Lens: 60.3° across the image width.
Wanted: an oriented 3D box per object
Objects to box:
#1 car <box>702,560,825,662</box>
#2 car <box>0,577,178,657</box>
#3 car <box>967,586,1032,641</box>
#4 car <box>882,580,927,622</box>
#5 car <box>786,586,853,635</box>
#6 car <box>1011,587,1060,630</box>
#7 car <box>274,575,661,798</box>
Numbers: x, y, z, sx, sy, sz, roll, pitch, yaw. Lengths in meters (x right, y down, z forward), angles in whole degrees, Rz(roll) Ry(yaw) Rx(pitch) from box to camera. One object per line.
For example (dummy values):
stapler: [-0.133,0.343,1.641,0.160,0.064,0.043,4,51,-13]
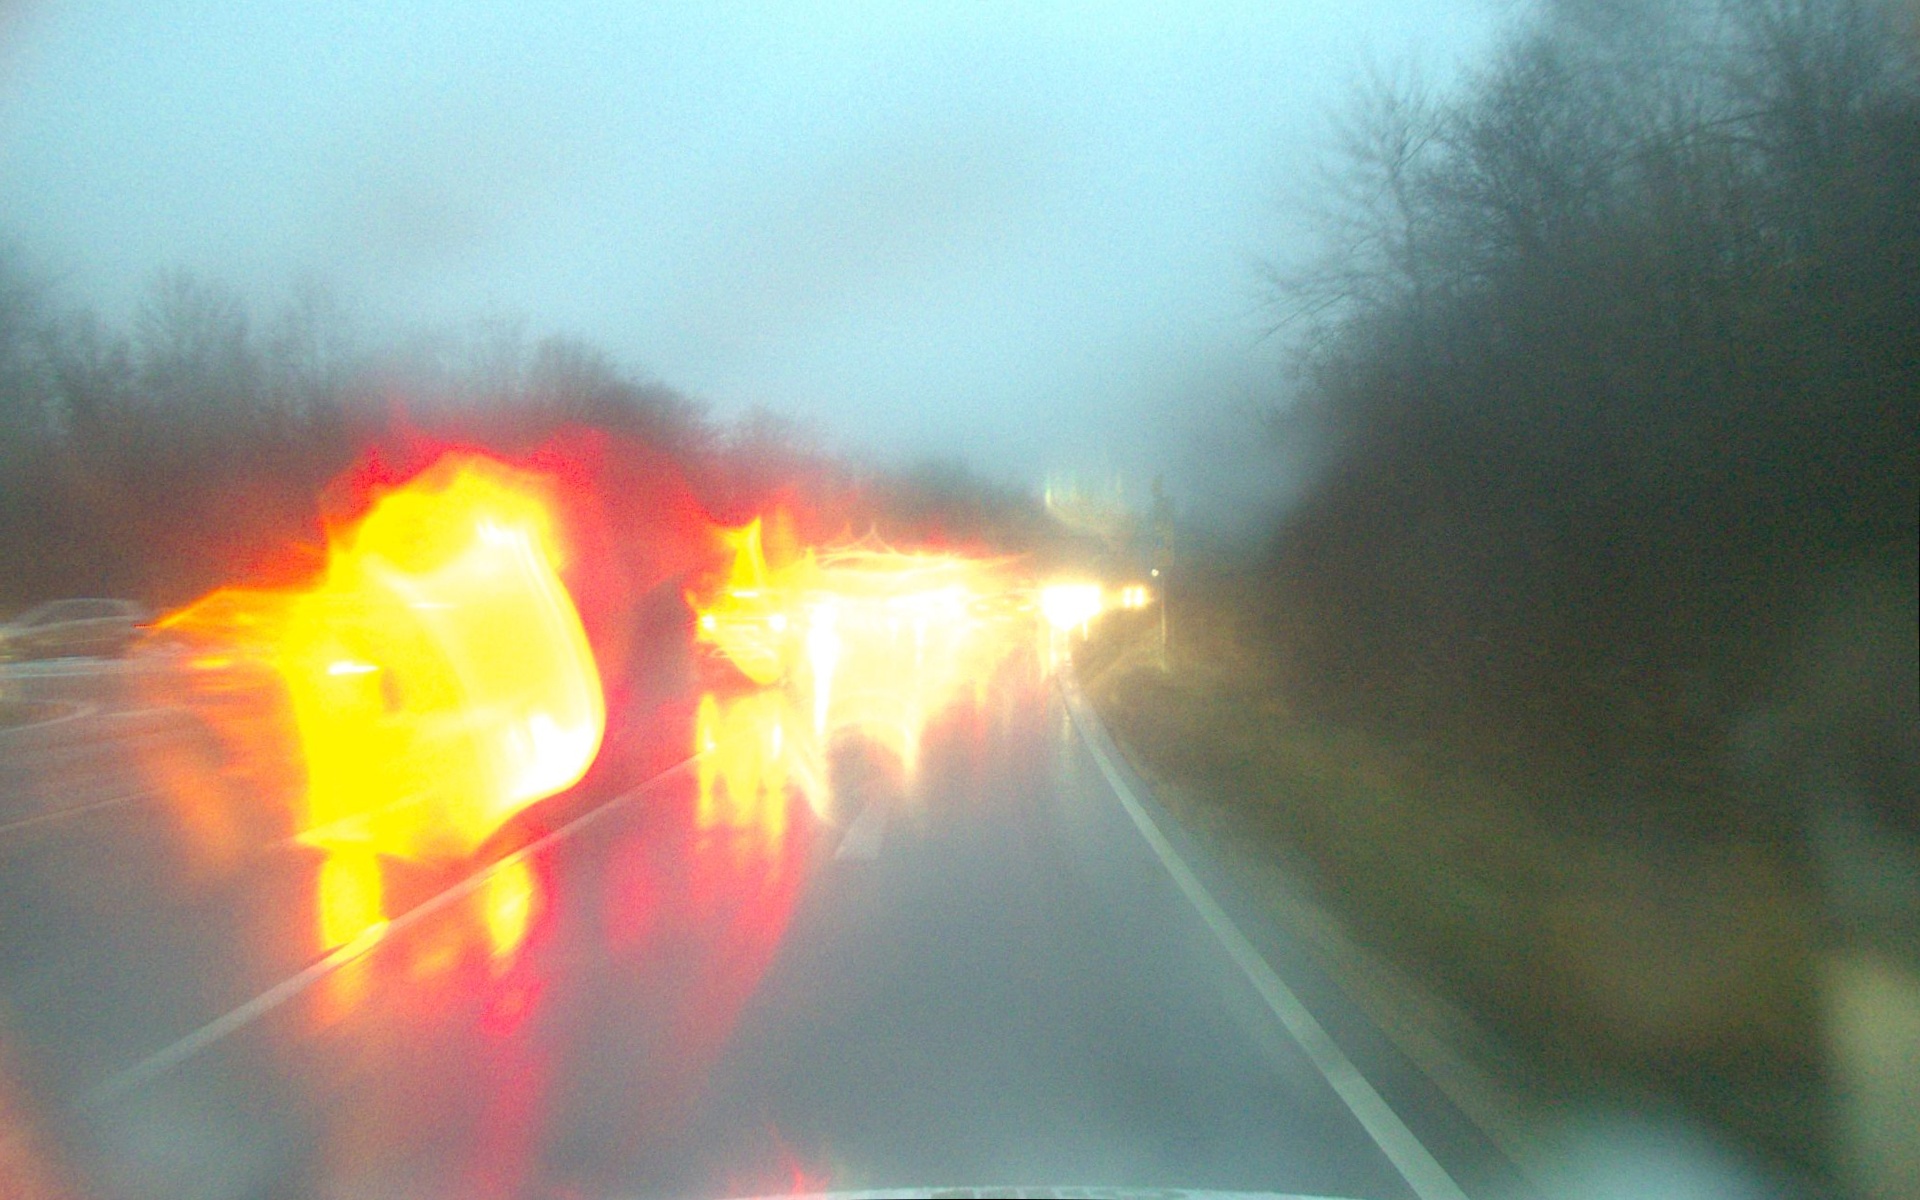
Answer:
car: [-3.467,0.182,29.845,1.678,1.655,4.218,2,0,0]
car: [-22.394,0.412,41.298,4.772,1.786,1.926,4,-1,-44]
car: [1.125,0.348,45.547,1.643,1.414,4.100,1,0,3]
car: [-2.827,0.059,85.362,1.799,2.004,4.360,3,0,4]
car: [-4.945,0.357,58.841,1.785,1.644,4.575,2,0,2]
car: [3.199,0.330,69.196,1.643,1.704,4.101,1,0,8]
car: [-4.075,0.656,14.579,1.964,1.583,4.517,2,0,1]
